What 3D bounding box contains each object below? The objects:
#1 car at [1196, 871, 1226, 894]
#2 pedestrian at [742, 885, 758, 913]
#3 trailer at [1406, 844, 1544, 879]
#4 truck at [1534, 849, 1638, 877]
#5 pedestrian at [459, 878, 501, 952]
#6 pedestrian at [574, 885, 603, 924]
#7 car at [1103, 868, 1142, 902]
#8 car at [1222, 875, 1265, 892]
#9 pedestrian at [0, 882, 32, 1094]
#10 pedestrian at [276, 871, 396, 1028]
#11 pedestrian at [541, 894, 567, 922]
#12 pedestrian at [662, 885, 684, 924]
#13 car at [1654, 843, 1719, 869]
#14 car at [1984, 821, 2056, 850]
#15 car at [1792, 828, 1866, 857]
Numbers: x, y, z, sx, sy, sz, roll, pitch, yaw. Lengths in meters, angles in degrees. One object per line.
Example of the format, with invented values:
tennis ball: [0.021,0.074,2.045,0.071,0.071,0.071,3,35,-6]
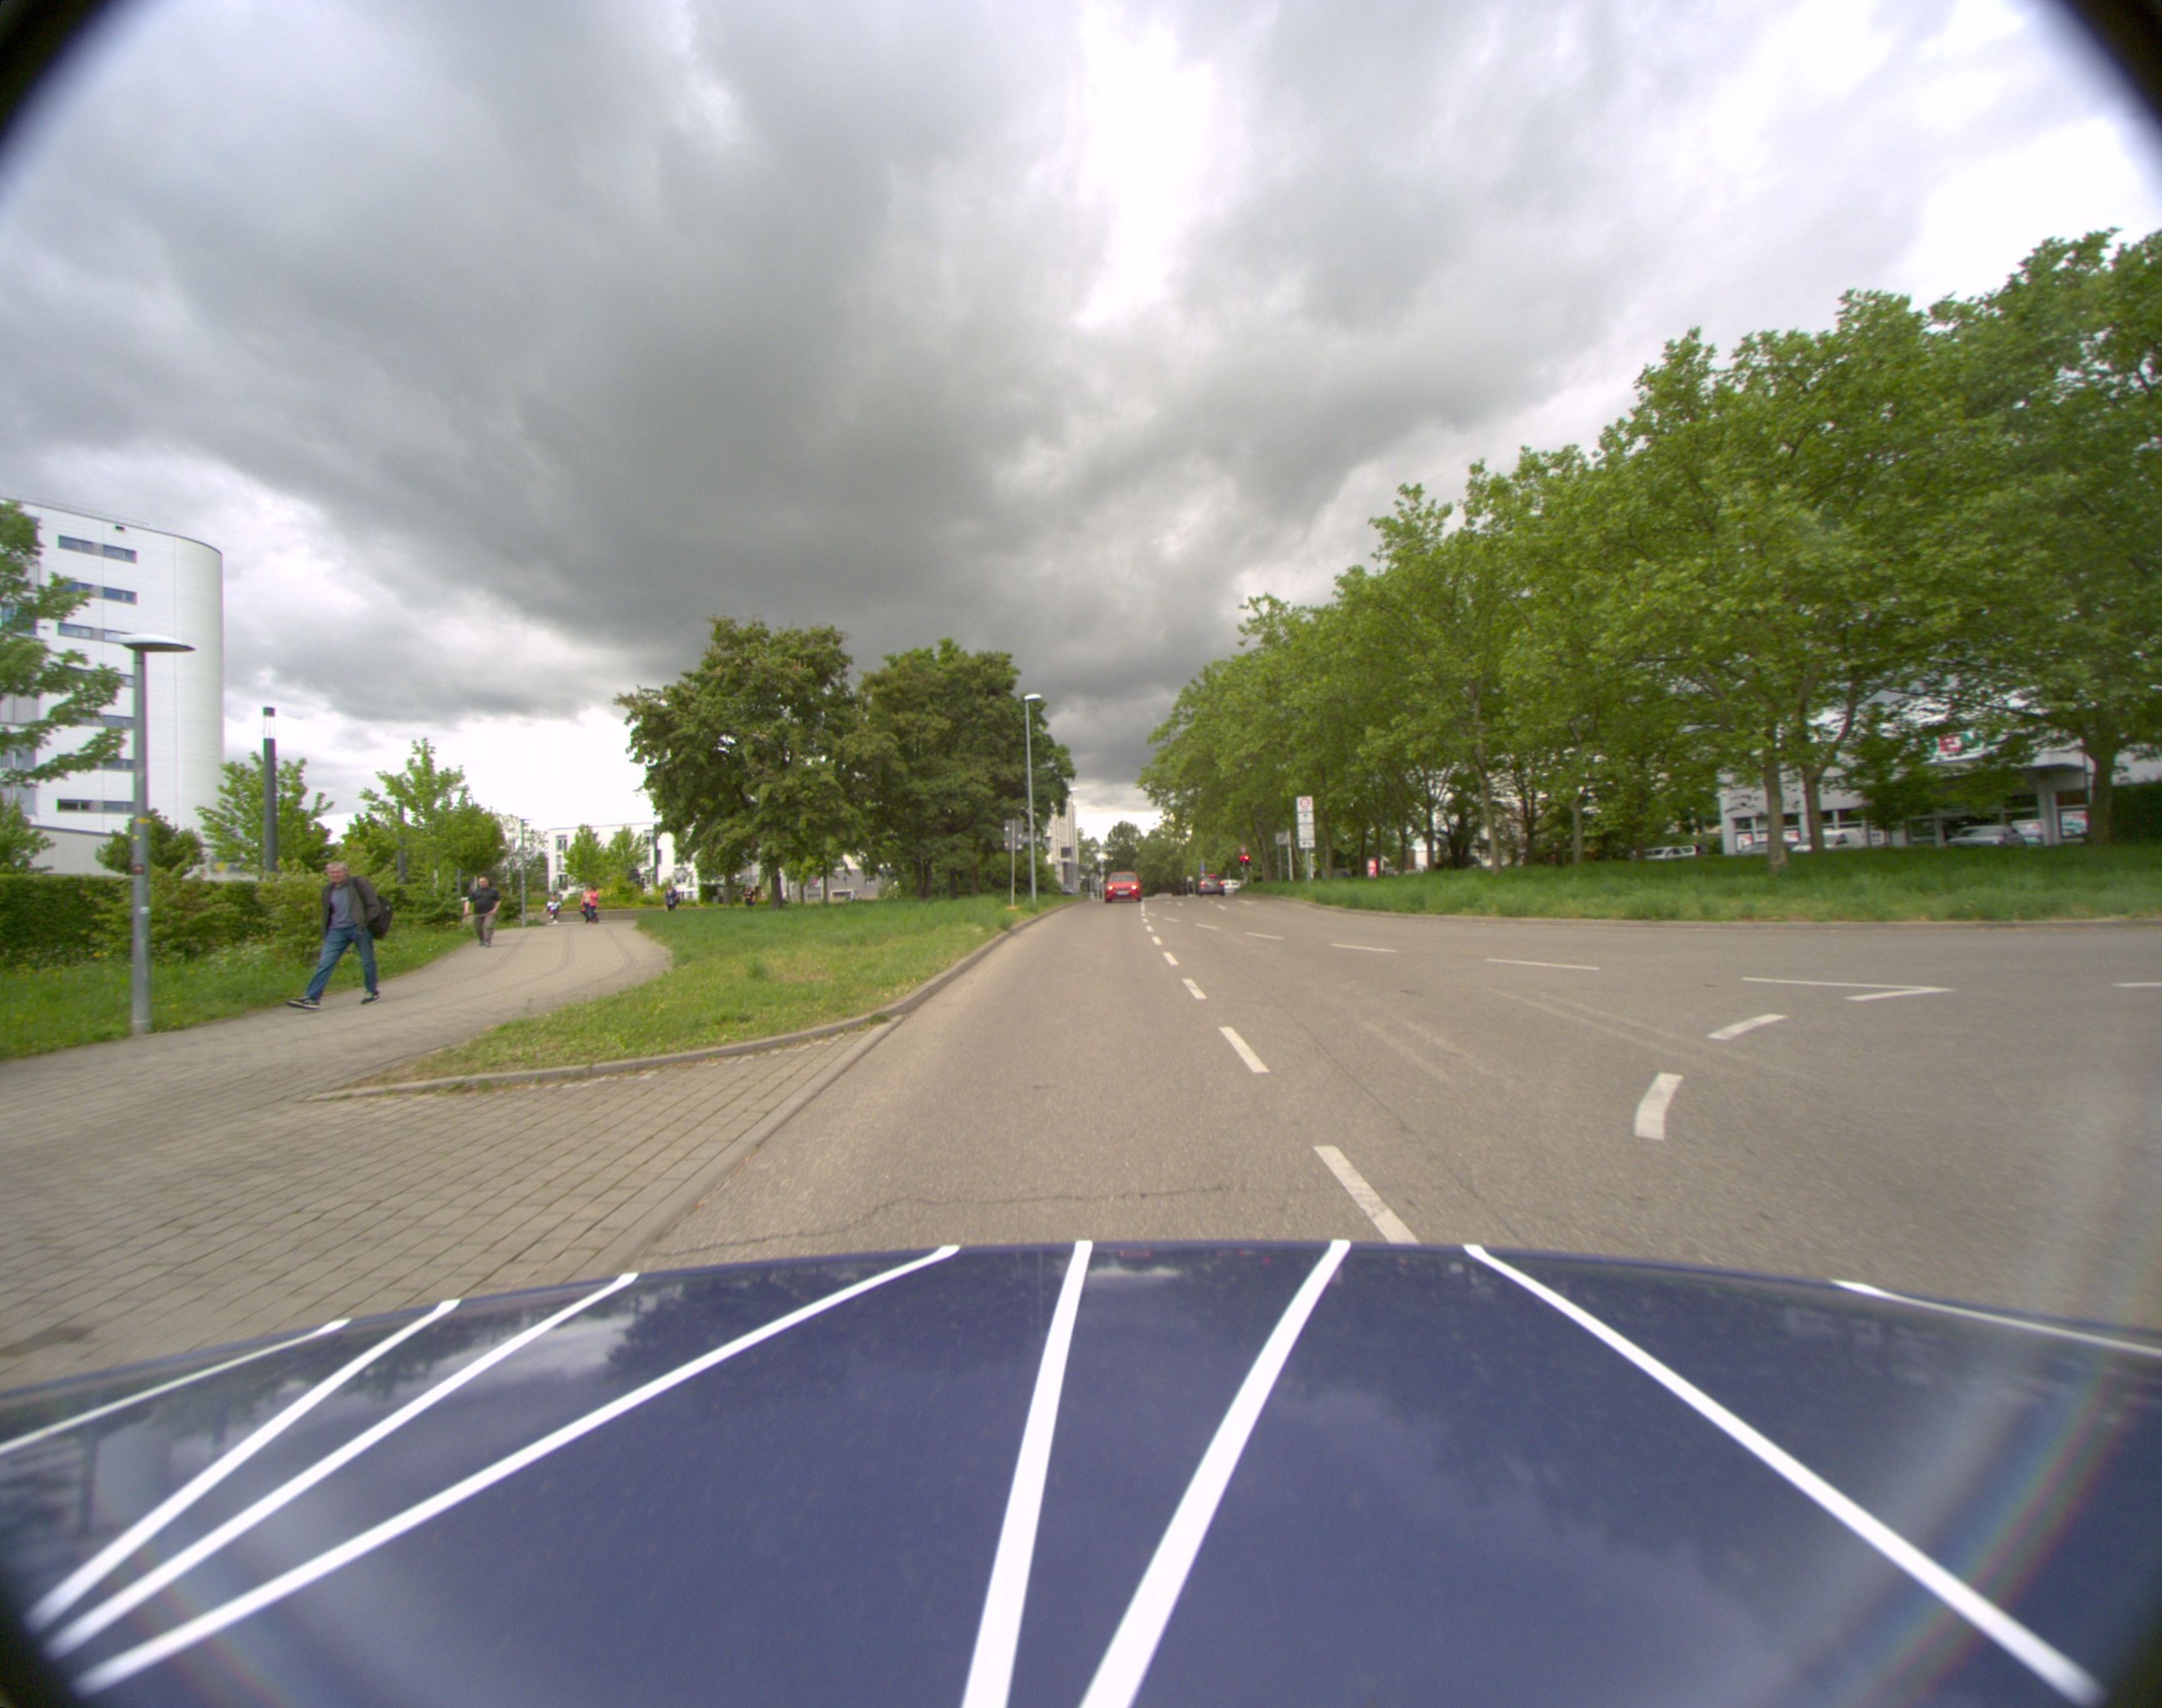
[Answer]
car: [9.565,2.103,56.094,1.758,1.506,4.001,-2,0,4]
pedestrian: [-17.066,2.301,39.218,0.676,1.406,0.666,-2,0,-22]
trailer: [35.781,0.682,69.330,11.073,2.789,2.083,-2,0,8]
truck: [45.081,0.779,67.996,7.514,2.200,2.083,-2,0,8]
pedestrian: [-13.812,1.392,17.479,0.639,1.634,0.602,-2,0,-30]
pedestrian: [-19.741,2.013,30.455,0.676,1.498,0.667,-2,0,-6]
car: [2.049,1.509,36.984,1.758,1.506,4.003,-2,-2,4]
car: [15.439,2.783,72.293,3.916,1.423,1.610,-2,0,8]
pedestrian: [-8.705,1.054,5.636,0.653,1.659,0.896,-2,0,-21]
pedestrian: [-8.749,1.071,8.968,0.764,1.712,0.884,-2,0,-30]
pedestrian: [-22.949,2.345,33.085,0.676,1.134,0.667,-2,0,-6]
pedestrian: [-17.695,2.181,32.988,0.676,1.597,0.666,-2,0,-17]
car: [38.332,0.111,48.117,4.005,1.455,1.651,-2,0,-26]
car: [52.123,-1.047,42.156,4.005,1.455,1.651,-2,0,-26]
car: [40.782,-0.622,41.419,4.005,1.455,1.651,-2,0,-26]
